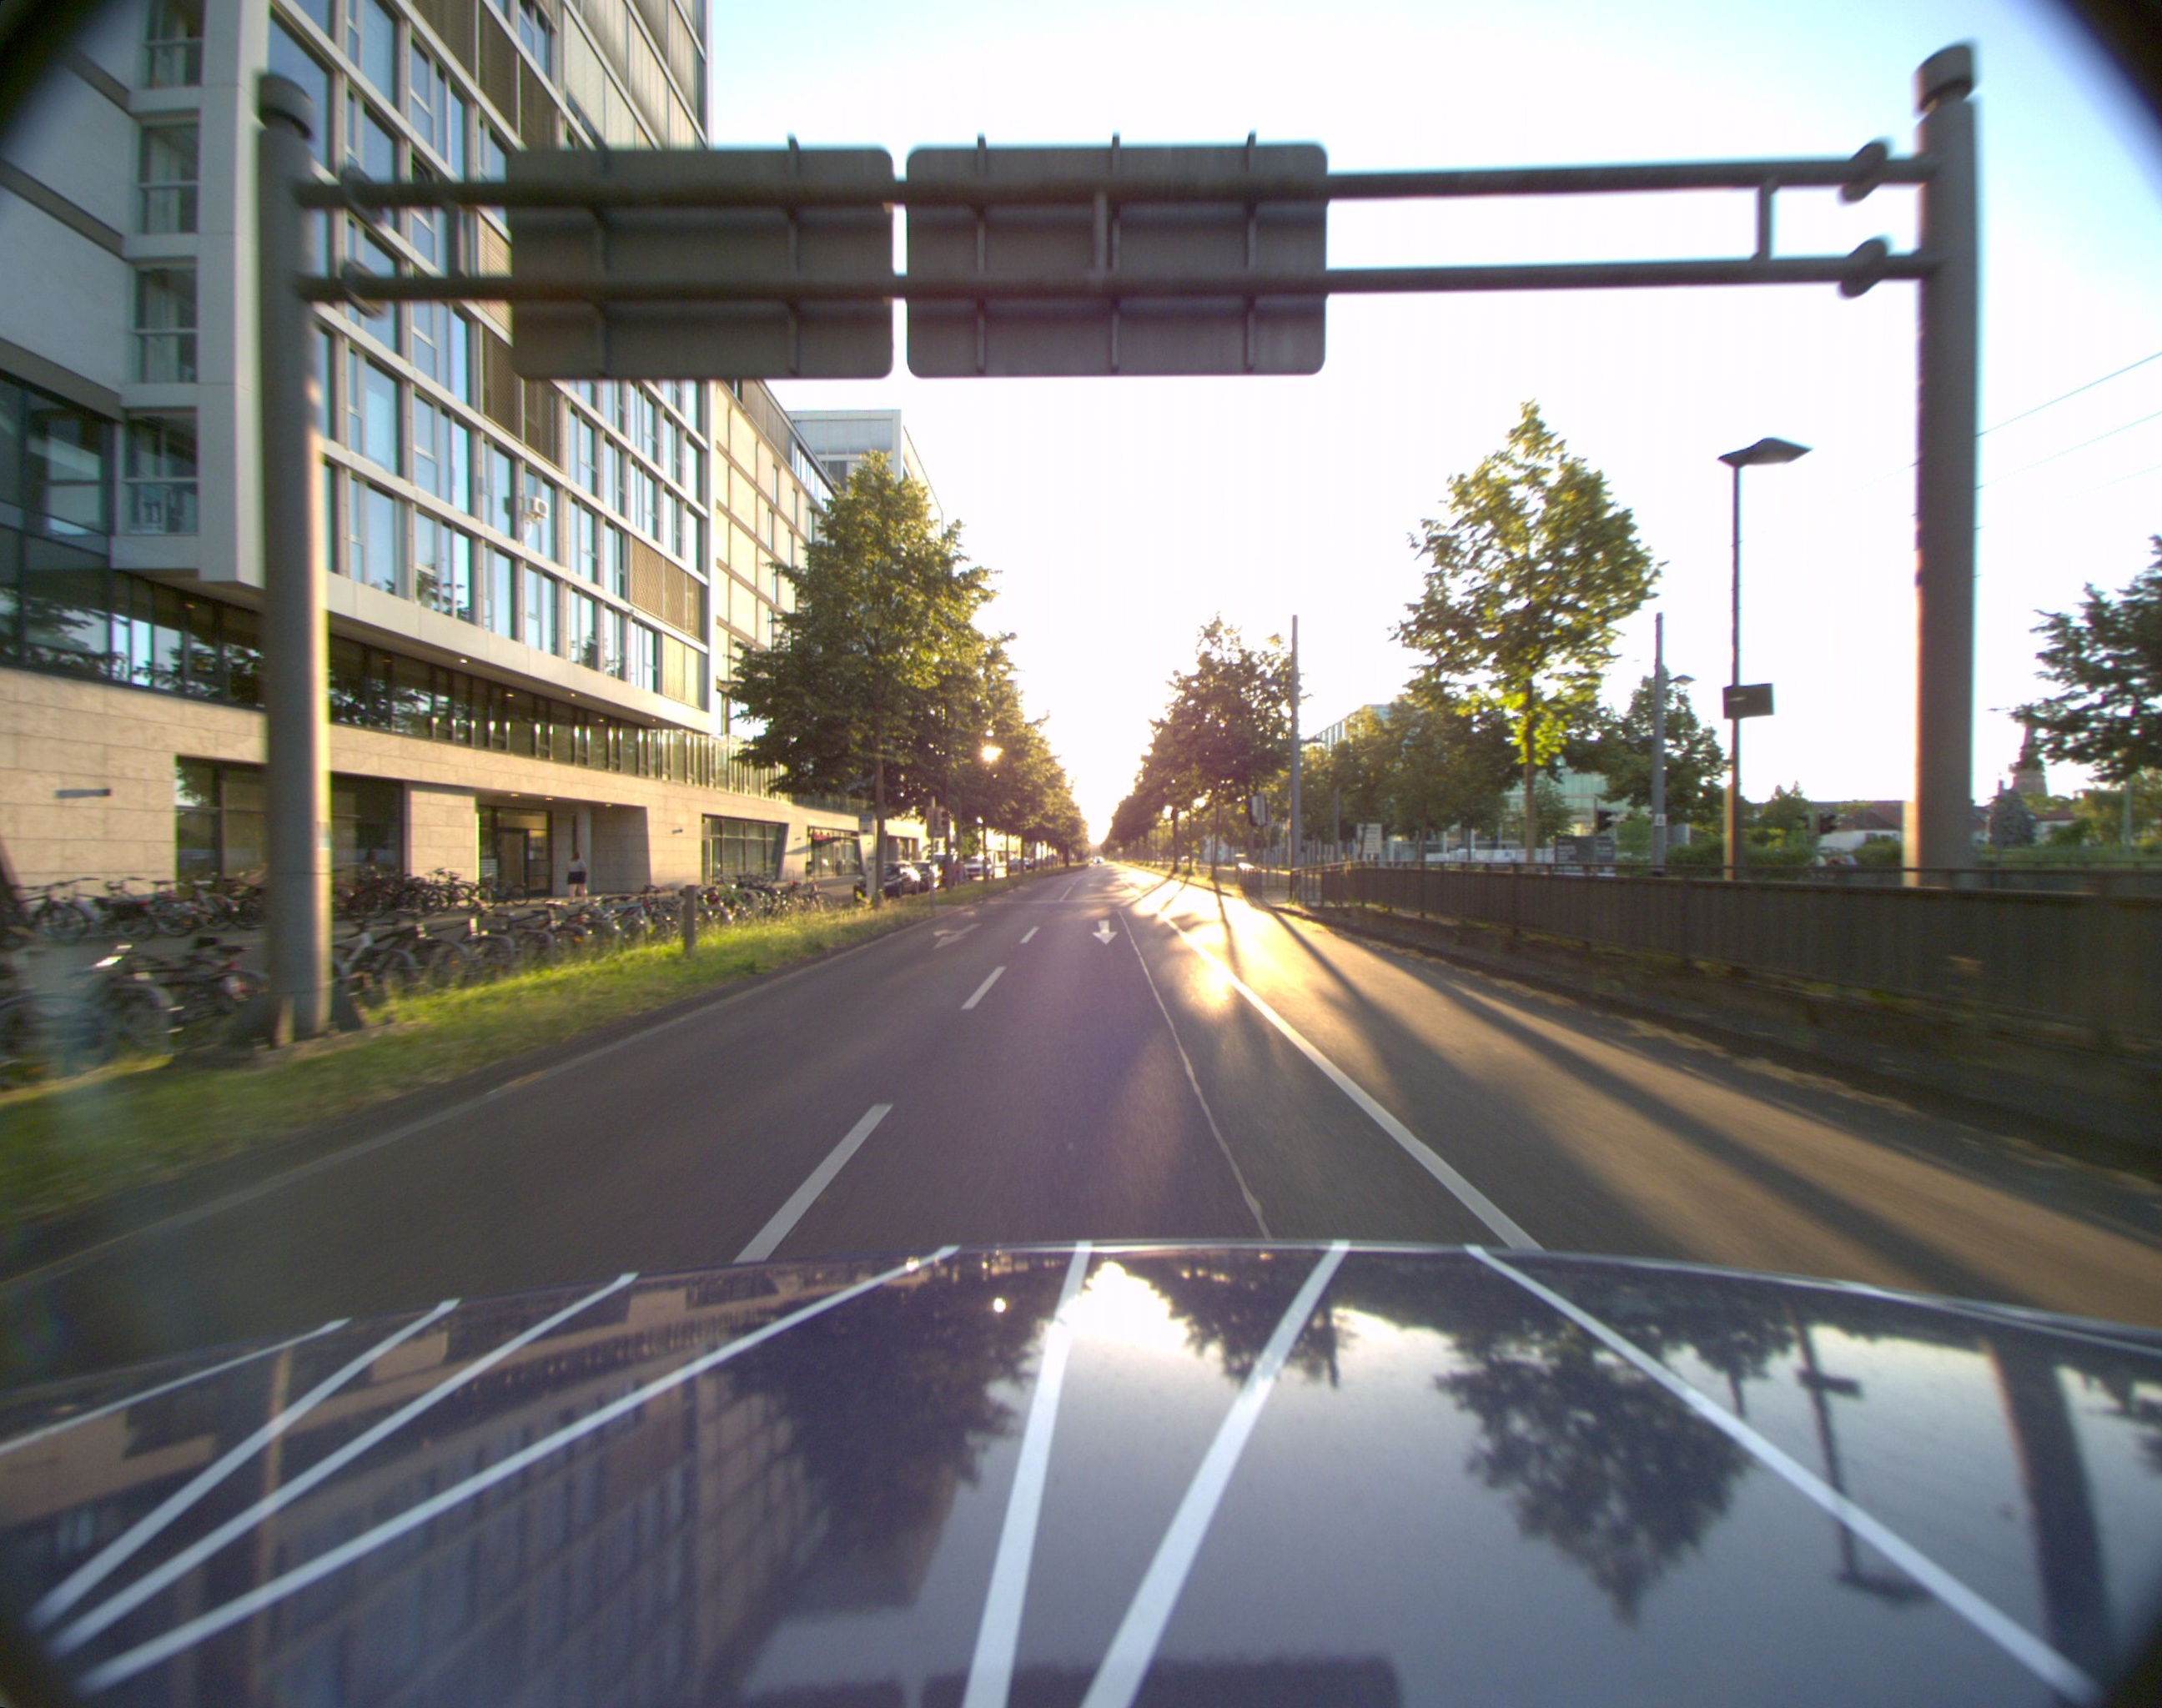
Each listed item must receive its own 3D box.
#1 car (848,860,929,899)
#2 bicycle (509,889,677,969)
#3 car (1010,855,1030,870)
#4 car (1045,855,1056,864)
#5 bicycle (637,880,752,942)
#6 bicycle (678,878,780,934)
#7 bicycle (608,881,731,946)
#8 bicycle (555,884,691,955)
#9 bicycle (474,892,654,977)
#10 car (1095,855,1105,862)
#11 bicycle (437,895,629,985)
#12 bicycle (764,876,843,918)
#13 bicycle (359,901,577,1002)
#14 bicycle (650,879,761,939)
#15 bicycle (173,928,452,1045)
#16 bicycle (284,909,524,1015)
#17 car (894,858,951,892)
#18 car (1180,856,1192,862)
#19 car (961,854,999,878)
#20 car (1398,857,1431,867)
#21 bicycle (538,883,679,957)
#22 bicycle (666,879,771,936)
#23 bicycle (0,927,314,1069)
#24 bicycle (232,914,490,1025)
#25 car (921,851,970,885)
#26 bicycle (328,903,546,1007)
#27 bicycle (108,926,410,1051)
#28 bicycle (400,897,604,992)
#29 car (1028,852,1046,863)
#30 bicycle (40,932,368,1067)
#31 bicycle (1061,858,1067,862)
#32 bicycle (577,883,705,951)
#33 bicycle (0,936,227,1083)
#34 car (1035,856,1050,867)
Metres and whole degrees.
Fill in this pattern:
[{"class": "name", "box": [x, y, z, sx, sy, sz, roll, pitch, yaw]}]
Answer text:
[{"class": "car", "box": [-7.588, 0.965, 30.444, 1.873, 1.403, 4.646, 0, 0, 2]}, {"class": "bicycle", "box": [-7.679, 1.166, 12.024, 2.148, 1.048, 0.571, -4, 0, -5]}, {"class": "car", "box": [-6.360, 0.880, 79.369, 1.714, 1.506, 3.759, -2, 0, 0]}, {"class": "car", "box": [-5.367, 0.899, 134.497, 1.843, 1.561, 4.061, -1, 0, 0]}, {"class": "bicycle", "box": [-7.609, 1.115, 15.000, 1.947, 1.048, 0.414, -4, 1, -6]}, {"class": "bicycle", "box": [-7.624, 1.122, 16.486, 1.947, 1.048, 0.314, -4, 1, -6]}, {"class": "bicycle", "box": [-7.694, 1.109, 14.248, 1.947, 1.048, 0.414, -4, 1, -6]}, {"class": "bicycle", "box": [-7.820, 1.103, 13.012, 1.947, 1.048, 0.404, -4, 1, -5]}, {"class": "bicycle", "box": [-7.662, 1.184, 11.327, 2.148, 1.048, 0.562, -4, 0, -5]}, {"class": "car", "box": [4.034, 1.025, 159.539, 1.998, 1.473, 4.336, 0, -1, 1]}, {"class": "bicycle", "box": [-7.670, 1.190, 10.699, 2.148, 1.048, 0.571, -4, 0, -5]}, {"class": "bicycle", "box": [-7.803, 1.202, 21.399, 1.946, 1.048, 0.545, -4, 0, 1]}, {"class": "bicycle", "box": [-7.658, 1.204, 9.559, 2.148, 1.048, 0.525, -4, 0, -5]}, {"class": "bicycle", "box": [-7.639, 1.110, 15.510, 1.947, 1.048, 0.414, -4, 1, -6]}, {"class": "bicycle", "box": [-7.694, 1.313, 7.664, 2.148, 0.934, 0.443, -4, 0, -5]}, {"class": "bicycle", "box": [-7.677, 1.208, 8.672, 2.148, 0.981, 0.443, -4, 0, -5]}, {"class": "car", "box": [-7.550, 0.960, 36.532, 1.814, 1.463, 4.664, 0, 0, -1]}, {"class": "car", "box": [23.824, 1.093, 172.486, 1.907, 1.477, 4.631, 0, 0, -1]}, {"class": "car", "box": [-7.287, 0.831, 55.277, 1.998, 1.633, 4.879, 0, 0, 2]}, {"class": "car", "box": [48.895, 1.191, 111.438, 3.995, 1.437, 1.895, 0, 0, 4]}, {"class": "bicycle", "box": [-7.778, 1.083, 12.554, 1.947, 1.048, 0.404, -4, 1, -5]}, {"class": "bicycle", "box": [-7.644, 1.116, 16.069, 1.947, 1.048, 0.347, -4, 1, -6]}, {"class": "bicycle", "box": [-7.720, 1.166, 6.252, 2.148, 0.934, 0.443, -4, 0, -5]}, {"class": "bicycle", "box": [-7.675, 1.219, 8.160, 2.148, 0.967, 0.443, -4, 0, -5]}, {"class": "car", "box": [-7.523, 0.739, 42.654, 1.999, 1.841, 4.664, 0, 0, -1]}, {"class": "bicycle", "box": [-7.687, 1.193, 9.110, 2.148, 1.048, 0.300, -4, 1, -5]}, {"class": "bicycle", "box": [-7.711, 1.248, 7.187, 2.148, 0.934, 0.452, -4, 0, -5]}, {"class": "bicycle", "box": [-7.666, 1.184, 10.127, 2.148, 1.048, 0.525, -4, 0, -5]}, {"class": "car", "box": [-5.224, 0.422, 90.498, 1.857, 1.359, 4.834, 0, 0, -1]}, {"class": "bicycle", "box": [-7.692, 1.260, 6.725, 2.148, 0.934, 0.443, -4, 0, -5]}, {"class": "bicycle", "box": [-3.986, 1.471, 178.618, 1.718, 0.905, 0.363, 0, 0, 34]}, {"class": "bicycle", "box": [-7.801, 1.105, 13.518, 1.947, 1.048, 0.404, -4, 1, -2]}, {"class": "bicycle", "box": [-7.941, 1.192, 5.732, 2.148, 0.934, 0.545, -4, 0, -5]}, {"class": "car", "box": [-5.524, 1.034, 109.344, 1.785, 1.485, 4.000, -3, 0, 1]}]
